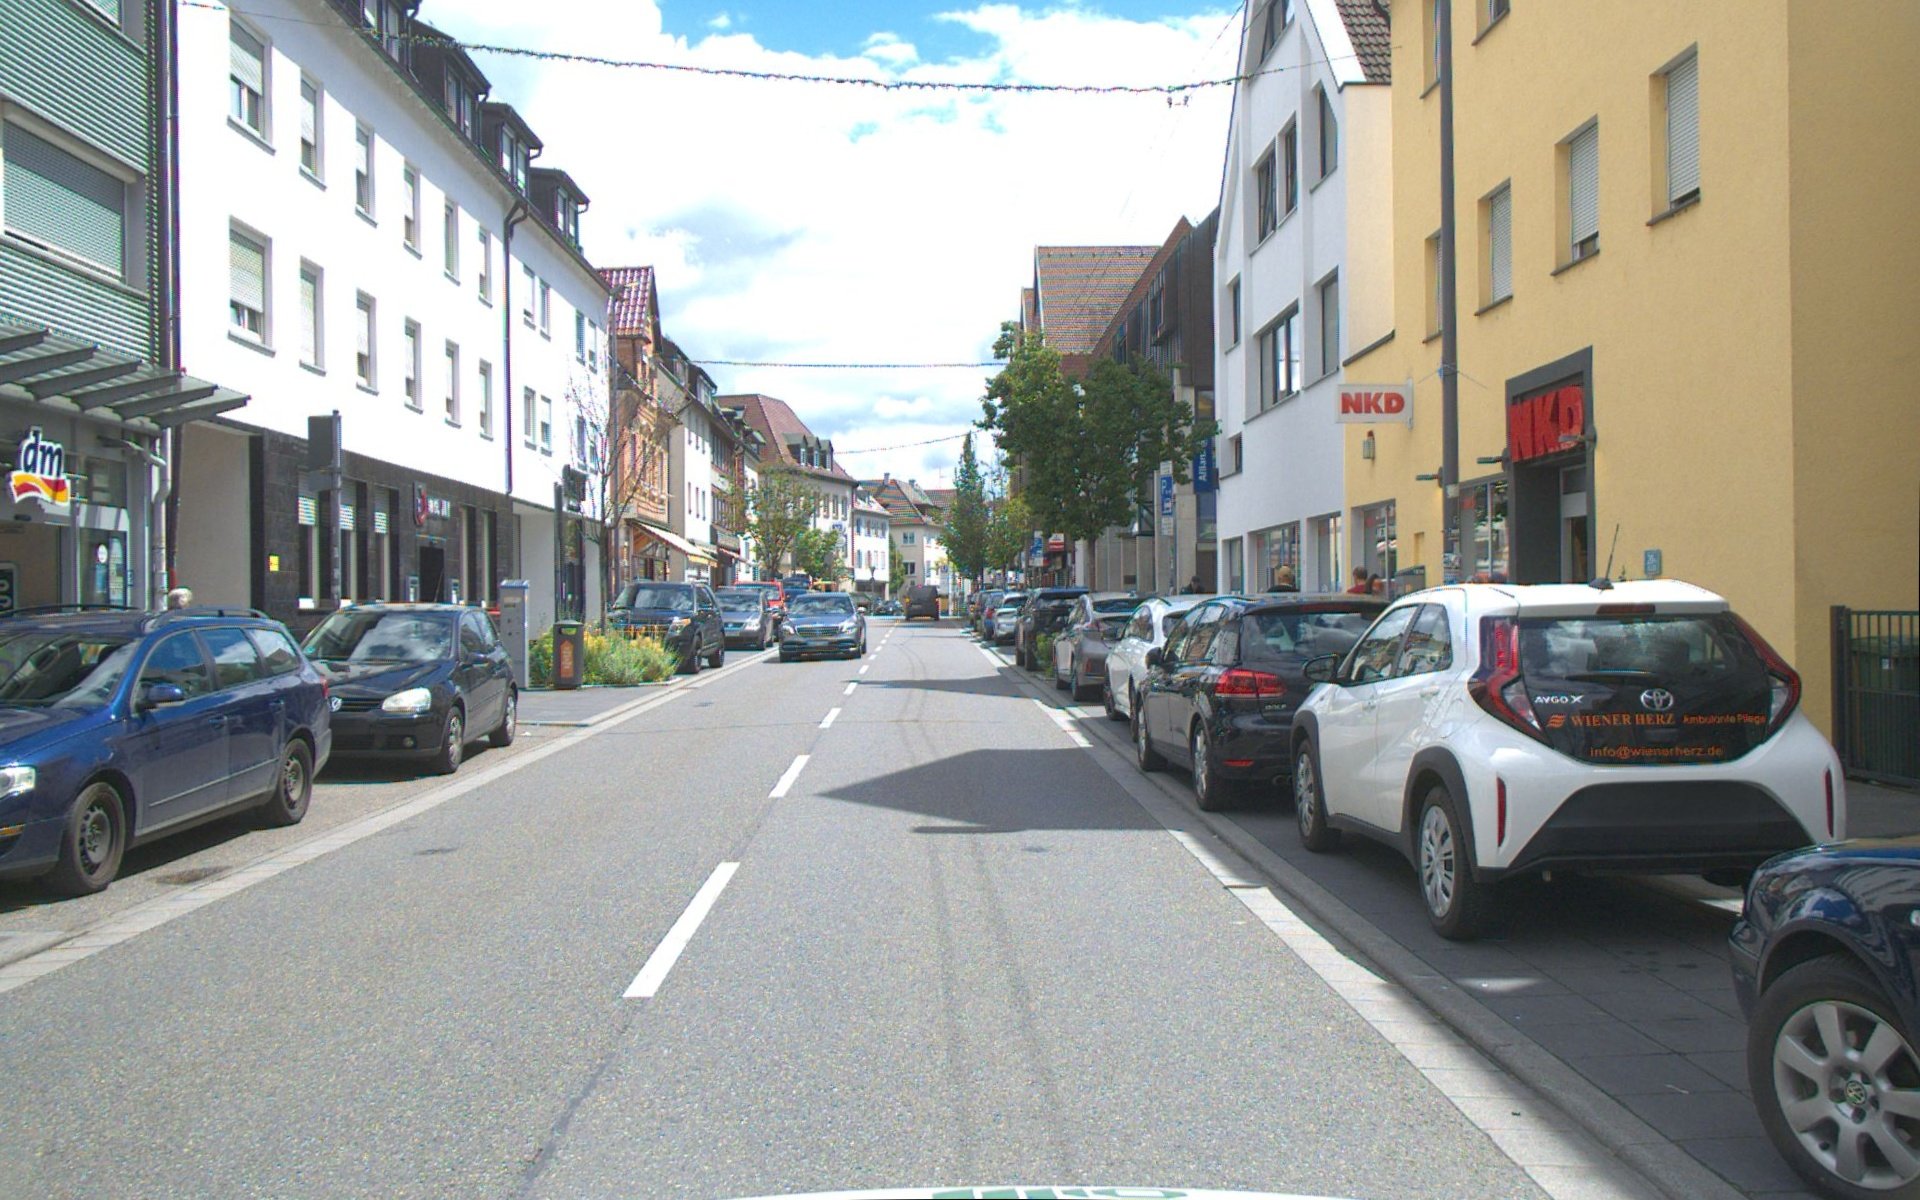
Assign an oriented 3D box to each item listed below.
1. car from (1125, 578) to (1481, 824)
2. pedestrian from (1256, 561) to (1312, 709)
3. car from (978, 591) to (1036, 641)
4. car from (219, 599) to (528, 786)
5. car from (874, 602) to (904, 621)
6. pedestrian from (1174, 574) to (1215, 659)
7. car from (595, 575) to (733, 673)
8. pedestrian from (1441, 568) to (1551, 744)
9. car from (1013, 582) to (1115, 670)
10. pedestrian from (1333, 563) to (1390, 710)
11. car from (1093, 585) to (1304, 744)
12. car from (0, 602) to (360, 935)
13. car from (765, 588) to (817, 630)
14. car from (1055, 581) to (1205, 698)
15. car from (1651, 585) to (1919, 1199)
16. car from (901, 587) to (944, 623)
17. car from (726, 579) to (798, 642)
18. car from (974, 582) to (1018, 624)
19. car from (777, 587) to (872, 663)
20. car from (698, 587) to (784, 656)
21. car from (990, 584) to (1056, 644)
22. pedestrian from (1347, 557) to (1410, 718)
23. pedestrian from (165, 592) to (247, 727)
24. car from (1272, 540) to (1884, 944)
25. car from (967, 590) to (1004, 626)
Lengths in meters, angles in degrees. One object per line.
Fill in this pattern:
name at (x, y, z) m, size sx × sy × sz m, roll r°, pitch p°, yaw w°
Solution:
car at (2.435, 0.621, 12.899) m, size 1.655 × 1.497 × 4.522 m, roll 1°, pitch 1°, yaw -2°
pedestrian at (4.181, 0.446, 21.363) m, size 0.576 × 1.873 × 0.576 m, roll 1°, pitch -1°, yaw -1°
car at (1.473, 0.518, 52.866) m, size 1.686 × 1.520 × 4.108 m, roll 1°, pitch -1°, yaw 0°
car at (-5.412, 0.777, 15.843) m, size 1.755 × 1.530 × 4.174 m, roll 1°, pitch 0°, yaw -5°
car at (-5.777, 0.967, 134.821) m, size 1.590 × 1.512 × 3.808 m, roll 1°, pitch -1°, yaw 10°
pedestrian at (4.977, 0.352, 35.124) m, size 0.726 × 1.767 × 0.757 m, roll 1°, pitch -1°, yaw -1°
car at (-5.806, 0.470, 32.994) m, size 1.778 × 1.786 × 4.669 m, roll 1°, pitch -1°, yaw 1°
pedestrian at (4.953, 0.509, 15.313) m, size 0.734 × 1.580 × 0.725 m, roll -1°, pitch -1°, yaw -2°
car at (2.003, 0.505, 32.839) m, size 1.686 × 1.604 × 4.108 m, roll 1°, pitch -1°, yaw -1°
pedestrian at (5.200, 0.465, 21.455) m, size 0.576 × 1.873 × 0.576 m, roll 1°, pitch -1°, yaw -1°
car at (2.499, 0.647, 18.400) m, size 1.597 × 1.502 × 4.957 m, roll 1°, pitch -1°, yaw 0°
car at (-5.389, 0.806, 10.156) m, size 1.754 × 1.539 × 4.712 m, roll 0°, pitch 0°, yaw -1°
car at (-6.756, 0.358, 66.459) m, size 1.763 × 1.626 × 4.388 m, roll 0°, pitch 0°, yaw -1°
car at (2.351, 0.544, 23.808) m, size 1.686 × 1.502 × 4.353 m, roll 1°, pitch -1°, yaw 0°
car at (3.056, 0.669, 2.777) m, size 1.656 × 1.465 × 4.291 m, roll -3°, pitch 0°, yaw -5°
car at (-2.091, 0.275, 90.718) m, size 2.001 × 1.881 × 4.994 m, roll 1°, pitch -1°, yaw -5°
car at (-6.399, 0.346, 53.856) m, size 1.779 × 1.922 × 4.840 m, roll 1°, pitch -1°, yaw -1°
car at (1.363, 0.109, 63.993) m, size 1.576 × 1.559 × 3.794 m, roll -2°, pitch 0°, yaw 0°
car at (-3.114, 0.532, 38.838) m, size 1.867 × 1.590 × 4.644 m, roll -2°, pitch 0°, yaw -1°
car at (-6.025, 0.599, 45.920) m, size 1.779 × 1.786 × 4.463 m, roll 1°, pitch -1°, yaw 0°
car at (1.775, 0.410, 47.487) m, size 1.686 × 1.604 × 4.428 m, roll 1°, pitch -1°, yaw 0°
pedestrian at (4.963, 0.442, 19.612) m, size 0.576 × 1.873 × 0.576 m, roll 1°, pitch -1°, yaw -1°
pedestrian at (-8.460, 0.659, 18.573) m, size 0.641 × 1.480 × 0.563 m, roll 1°, pitch -1°, yaw -1°
car at (2.851, 0.592, 8.530) m, size 1.655 × 1.601 × 3.754 m, roll 1°, pitch -1°, yaw -2°
car at (1.156, 0.351, 75.921) m, size 1.577 × 1.521 × 3.794 m, roll -4°, pitch 0°, yaw 0°
